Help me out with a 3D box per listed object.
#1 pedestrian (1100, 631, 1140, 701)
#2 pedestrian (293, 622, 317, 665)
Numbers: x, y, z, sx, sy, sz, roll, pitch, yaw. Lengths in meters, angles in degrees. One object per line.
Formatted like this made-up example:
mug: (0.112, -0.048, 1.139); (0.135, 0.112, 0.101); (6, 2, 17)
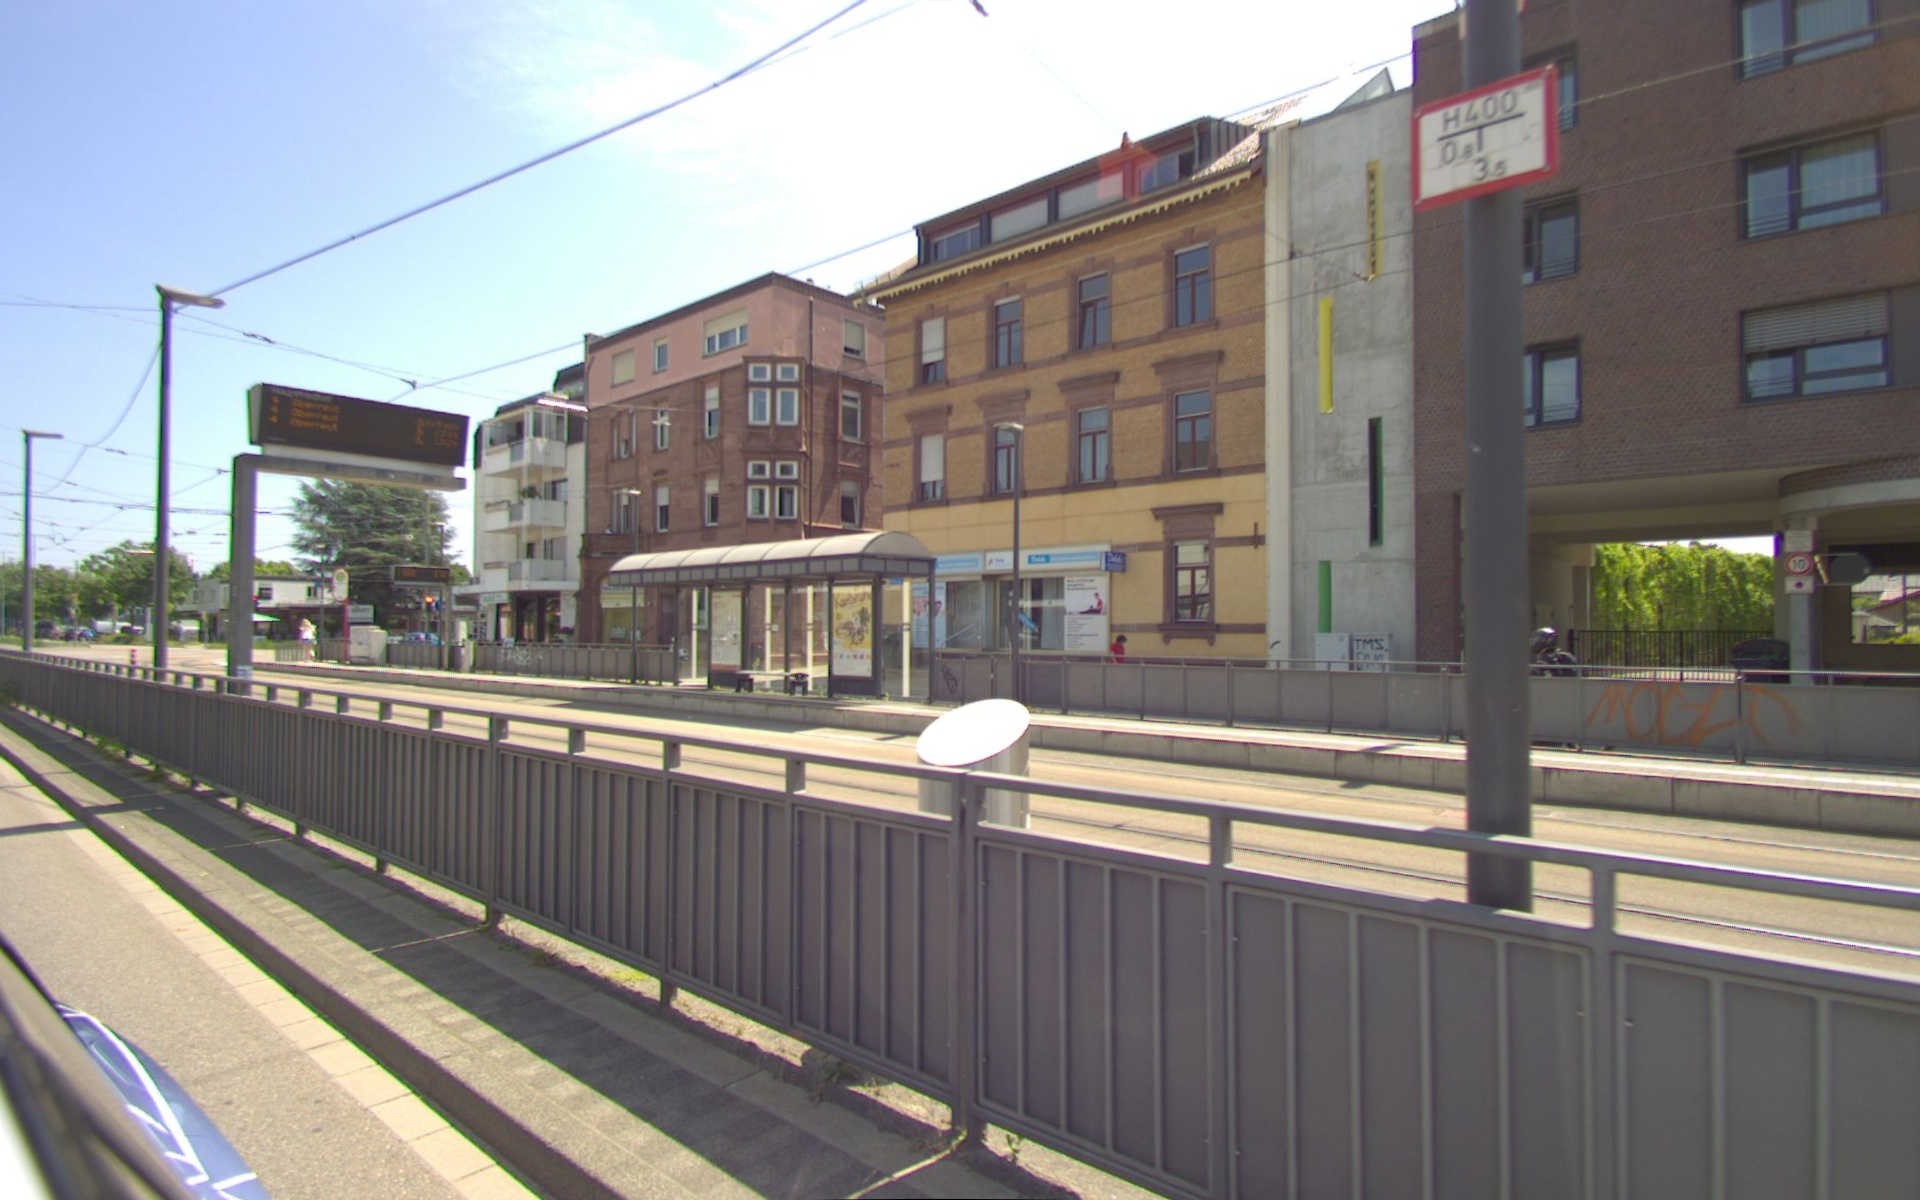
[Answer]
pedestrian: (3.761, 1.539, 23.819); (0.714, 1.608, 0.597); (-2, -2, 40)
pedestrian: (-25.094, 1.674, 38.769); (0.676, 1.637, 0.589); (-2, -4, 42)
